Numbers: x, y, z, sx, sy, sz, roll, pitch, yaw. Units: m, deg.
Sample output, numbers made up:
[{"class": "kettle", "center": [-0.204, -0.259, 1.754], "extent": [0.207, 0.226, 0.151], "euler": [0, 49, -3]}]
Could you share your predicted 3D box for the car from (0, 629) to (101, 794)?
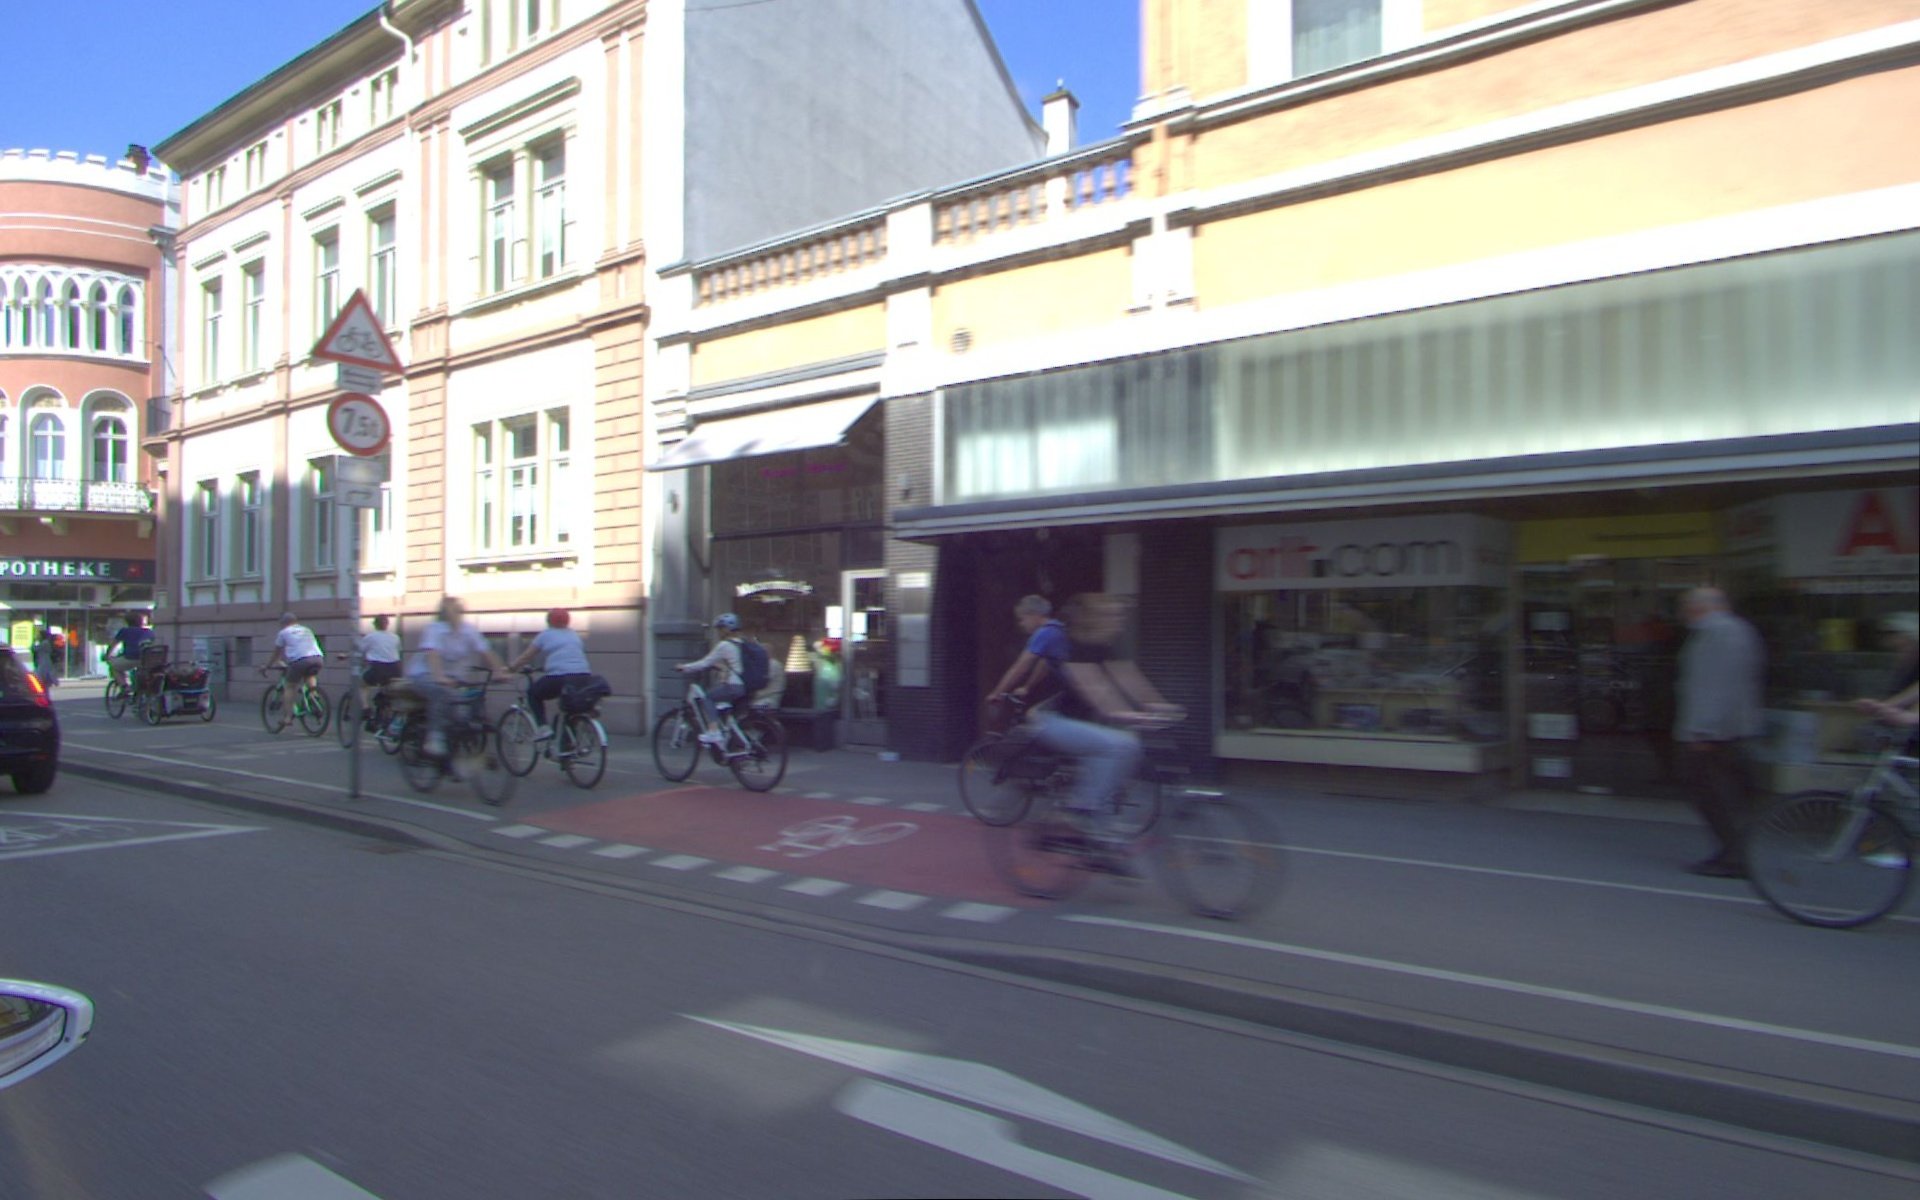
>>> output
[{"class": "car", "center": [-10.738, 1.063, 10.124], "extent": [4.229, 1.509, 1.885], "euler": [-2, -5, 32]}]

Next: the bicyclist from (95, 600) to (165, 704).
[{"class": "bicyclist", "center": [-14.001, 0.867, 16.898], "extent": [0.764, 1.695, 0.729], "euler": [-1, -1, 33]}]

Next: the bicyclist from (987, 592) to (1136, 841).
[{"class": "bicyclist", "center": [0.778, 0.833, 7.597], "extent": [0.833, 1.739, 0.837], "euler": [-1, -1, 33]}]

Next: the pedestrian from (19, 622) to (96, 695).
[{"class": "pedestrian", "center": [-21.085, 1.355, 23.409], "extent": [0.958, 1.632, 0.902], "euler": [-3, -1, 12]}]

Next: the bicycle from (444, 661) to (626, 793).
[{"class": "bicycle", "center": [-4.314, 1.229, 10.109], "extent": [2.006, 1.142, 0.733], "euler": [-1, 0, 34]}]

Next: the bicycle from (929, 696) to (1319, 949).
[{"class": "bicycle", "center": [0.851, 1.135, 5.591], "extent": [2.066, 1.141, 0.593], "euler": [-3, -1, 34]}]

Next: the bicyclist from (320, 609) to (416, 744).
[{"class": "bicyclist", "center": [-7.418, 0.919, 12.562], "extent": [0.832, 1.595, 0.744], "euler": [2, 2, 33]}]

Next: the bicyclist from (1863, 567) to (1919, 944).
[{"class": "bicyclist", "center": [4.952, 0.721, 4.715], "extent": [0.832, 1.739, 0.907], "euler": [-1, -1, 30]}]

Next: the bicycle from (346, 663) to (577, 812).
[{"class": "bicycle", "center": [-4.592, 1.180, 9.132], "extent": [2.538, 1.141, 0.739], "euler": [-2, -1, 34]}]

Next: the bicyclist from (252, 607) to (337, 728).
[{"class": "bicyclist", "center": [-9.693, 0.953, 14.582], "extent": [1.141, 1.684, 0.570], "euler": [1, 1, 29]}]

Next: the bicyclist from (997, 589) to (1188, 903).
[{"class": "bicyclist", "center": [0.754, 0.759, 5.645], "extent": [0.833, 1.594, 0.744], "euler": [-1, -1, 33]}]

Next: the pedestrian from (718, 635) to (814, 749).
[{"class": "pedestrian", "center": [-2.464, 1.143, 12.813], "extent": [0.616, 1.334, 1.083], "euler": [0, 1, 31]}]

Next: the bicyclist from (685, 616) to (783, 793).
[{"class": "bicyclist", "center": [-2.222, 0.993, 9.841], "extent": [0.833, 1.657, 0.513], "euler": [-1, -1, 33]}]

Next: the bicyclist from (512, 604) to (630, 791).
[{"class": "bicyclist", "center": [-3.833, 0.925, 9.880], "extent": [0.833, 1.740, 0.681], "euler": [-1, 1, 33]}]

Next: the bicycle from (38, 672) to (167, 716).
[{"class": "bicycle", "center": [-23.274, 2.551, 27.259], "extent": [2.542, 1.139, 0.625], "euler": [3, -8, -35]}]

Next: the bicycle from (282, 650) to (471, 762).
[{"class": "bicycle", "center": [-7.360, 1.264, 12.533], "extent": [3.195, 1.142, 0.746], "euler": [0, 0, 34]}]

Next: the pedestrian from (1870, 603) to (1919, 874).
[{"class": "pedestrian", "center": [6.364, 0.868, 6.319], "extent": [0.833, 1.686, 0.520], "euler": [0, -2, 33]}]

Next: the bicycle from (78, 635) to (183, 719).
[{"class": "bicycle", "center": [-14.047, 1.273, 16.943], "extent": [2.250, 1.285, 0.730], "euler": [1, -2, 34]}]

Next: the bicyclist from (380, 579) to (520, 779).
[{"class": "bicyclist", "center": [-4.689, 0.696, 9.216], "extent": [1.021, 1.724, 0.744], "euler": [-1, -1, 33]}]

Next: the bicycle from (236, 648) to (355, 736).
[{"class": "bicycle", "center": [-9.696, 1.306, 14.588], "extent": [2.046, 1.142, 0.570], "euler": [0, 1, 29]}]

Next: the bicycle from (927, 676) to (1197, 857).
[{"class": "bicycle", "center": [0.734, 1.184, 7.586], "extent": [1.964, 1.132, 0.660], "euler": [-1, -1, 34]}]

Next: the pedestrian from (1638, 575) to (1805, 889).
[{"class": "pedestrian", "center": [4.776, 0.778, 6.342], "extent": [0.757, 1.814, 0.837], "euler": [-1, -1, 33]}]

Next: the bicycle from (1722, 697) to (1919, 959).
[{"class": "bicycle", "center": [4.852, 1.085, 4.749], "extent": [1.890, 1.132, 0.745], "euler": [-1, -1, 31]}]

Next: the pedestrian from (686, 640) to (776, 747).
[{"class": "pedestrian", "center": [-3.004, 1.199, 13.209], "extent": [0.616, 1.333, 1.027], "euler": [0, -1, 31]}]

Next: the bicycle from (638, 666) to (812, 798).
[{"class": "bicycle", "center": [-2.371, 1.271, 10.007], "extent": [1.834, 1.142, 0.604], "euler": [-1, 0, 34]}]
